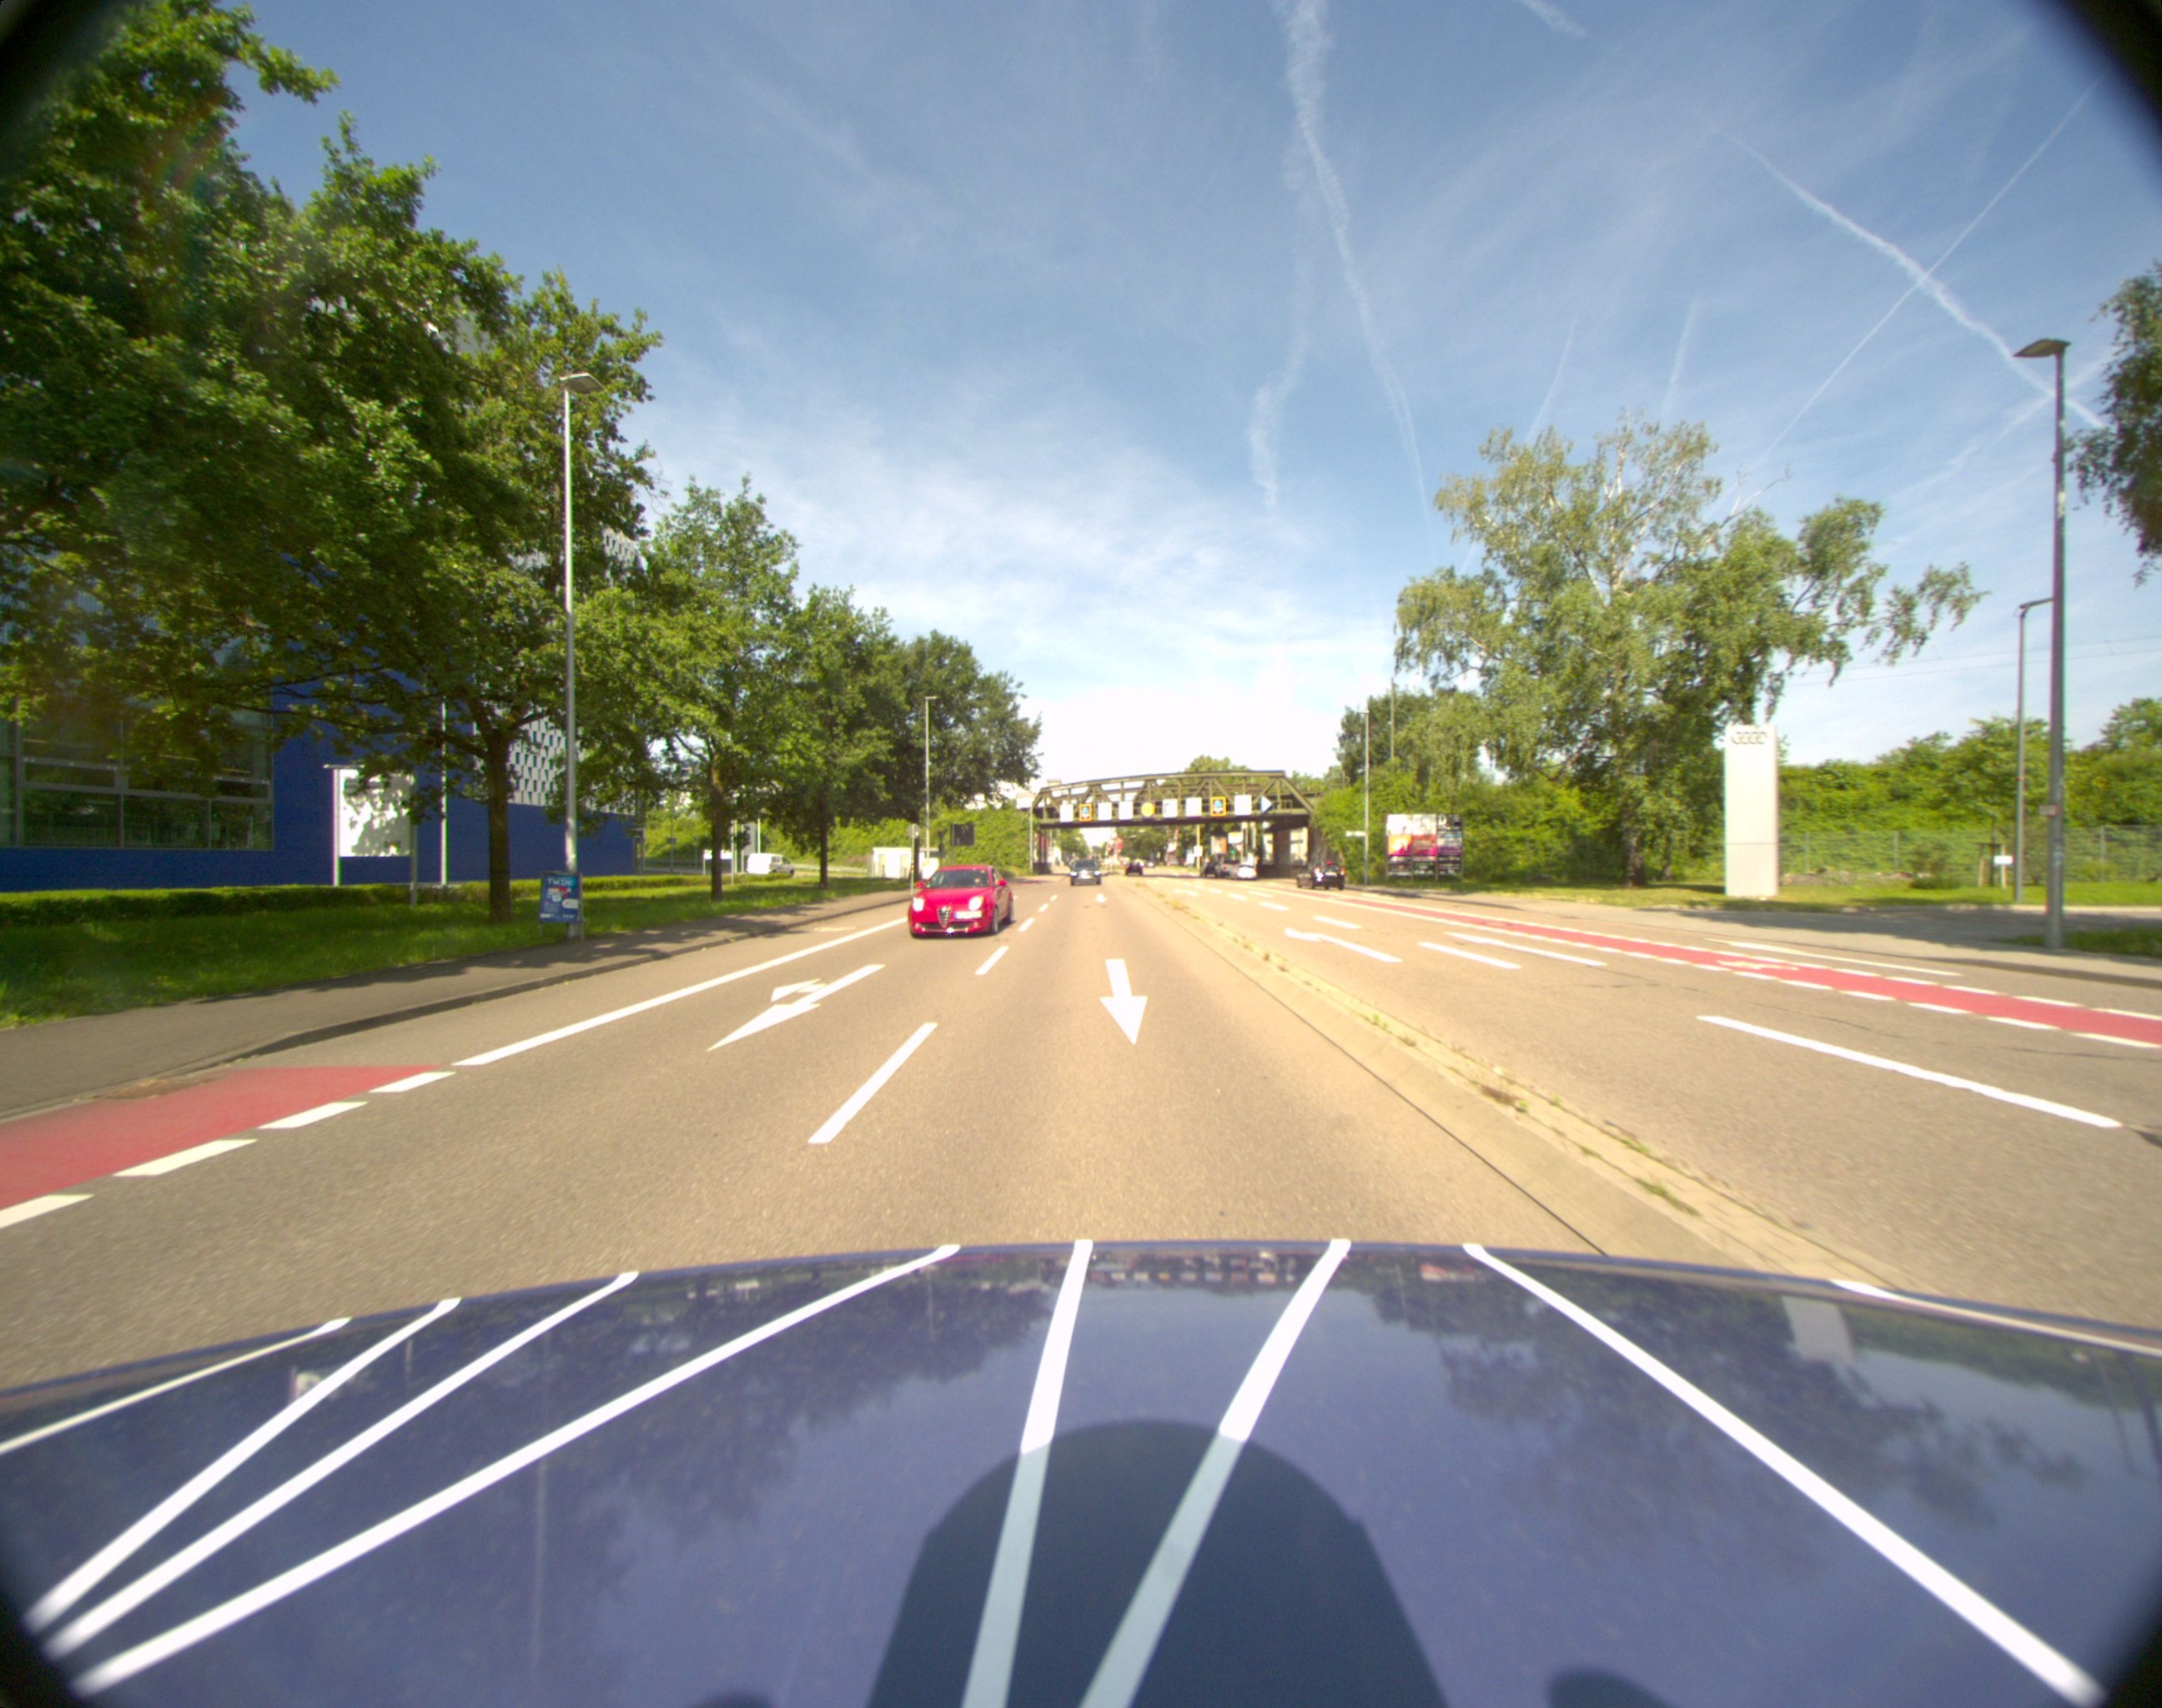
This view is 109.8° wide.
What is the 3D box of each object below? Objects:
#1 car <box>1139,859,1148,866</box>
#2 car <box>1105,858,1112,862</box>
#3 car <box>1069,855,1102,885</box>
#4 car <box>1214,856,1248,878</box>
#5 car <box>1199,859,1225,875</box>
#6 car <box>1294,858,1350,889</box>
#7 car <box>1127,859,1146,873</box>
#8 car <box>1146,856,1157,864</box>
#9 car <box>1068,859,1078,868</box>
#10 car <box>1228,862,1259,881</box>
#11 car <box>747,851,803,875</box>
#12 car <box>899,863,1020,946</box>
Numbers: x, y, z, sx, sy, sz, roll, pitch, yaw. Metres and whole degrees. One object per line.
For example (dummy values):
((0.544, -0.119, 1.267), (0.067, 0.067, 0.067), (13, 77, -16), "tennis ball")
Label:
((15.303, 2.114, 186.938), (1.824, 1.711, 3.636), (-2, 0, -2), "car")
((9.493, 2.081, 263.459), (1.927, 1.507, 3.824), (-2, 0, -2), "car")
((0.322, 0.913, 45.178), (1.824, 1.632, 4.113), (-2, 0, 2), "car")
((13.542, 1.172, 69.025), (1.998, 1.850, 5.451), (2, 0, 0), "car")
((13.427, 1.317, 77.972), (1.877, 1.586, 4.387), (0, 0, 0), "car")
((12.762, 1.021, 40.488), (1.702, 1.510, 4.027), (1, 0, 0), "car")
((5.983, 1.300, 81.852), (1.785, 1.438, 4.120), (0, 0, 1), "car")
((14.901, 1.266, 160.416), (1.824, 1.711, 3.636), (-2, 0, -2), "car")
((-1.528, 1.781, 141.115), (1.824, 1.569, 4.246), (1, 0, 0), "car")
((13.302, 1.404, 62.380), (1.639, 1.379, 4.318), (1, 0, 1), "car")
((-21.904, 0.603, 54.568), (1.854, 1.629, 4.306), (-2, 0, 6), "car")
((-2.465, 0.980, 16.334), (1.798, 1.446, 3.979), (-1, 1, 2), "car")
